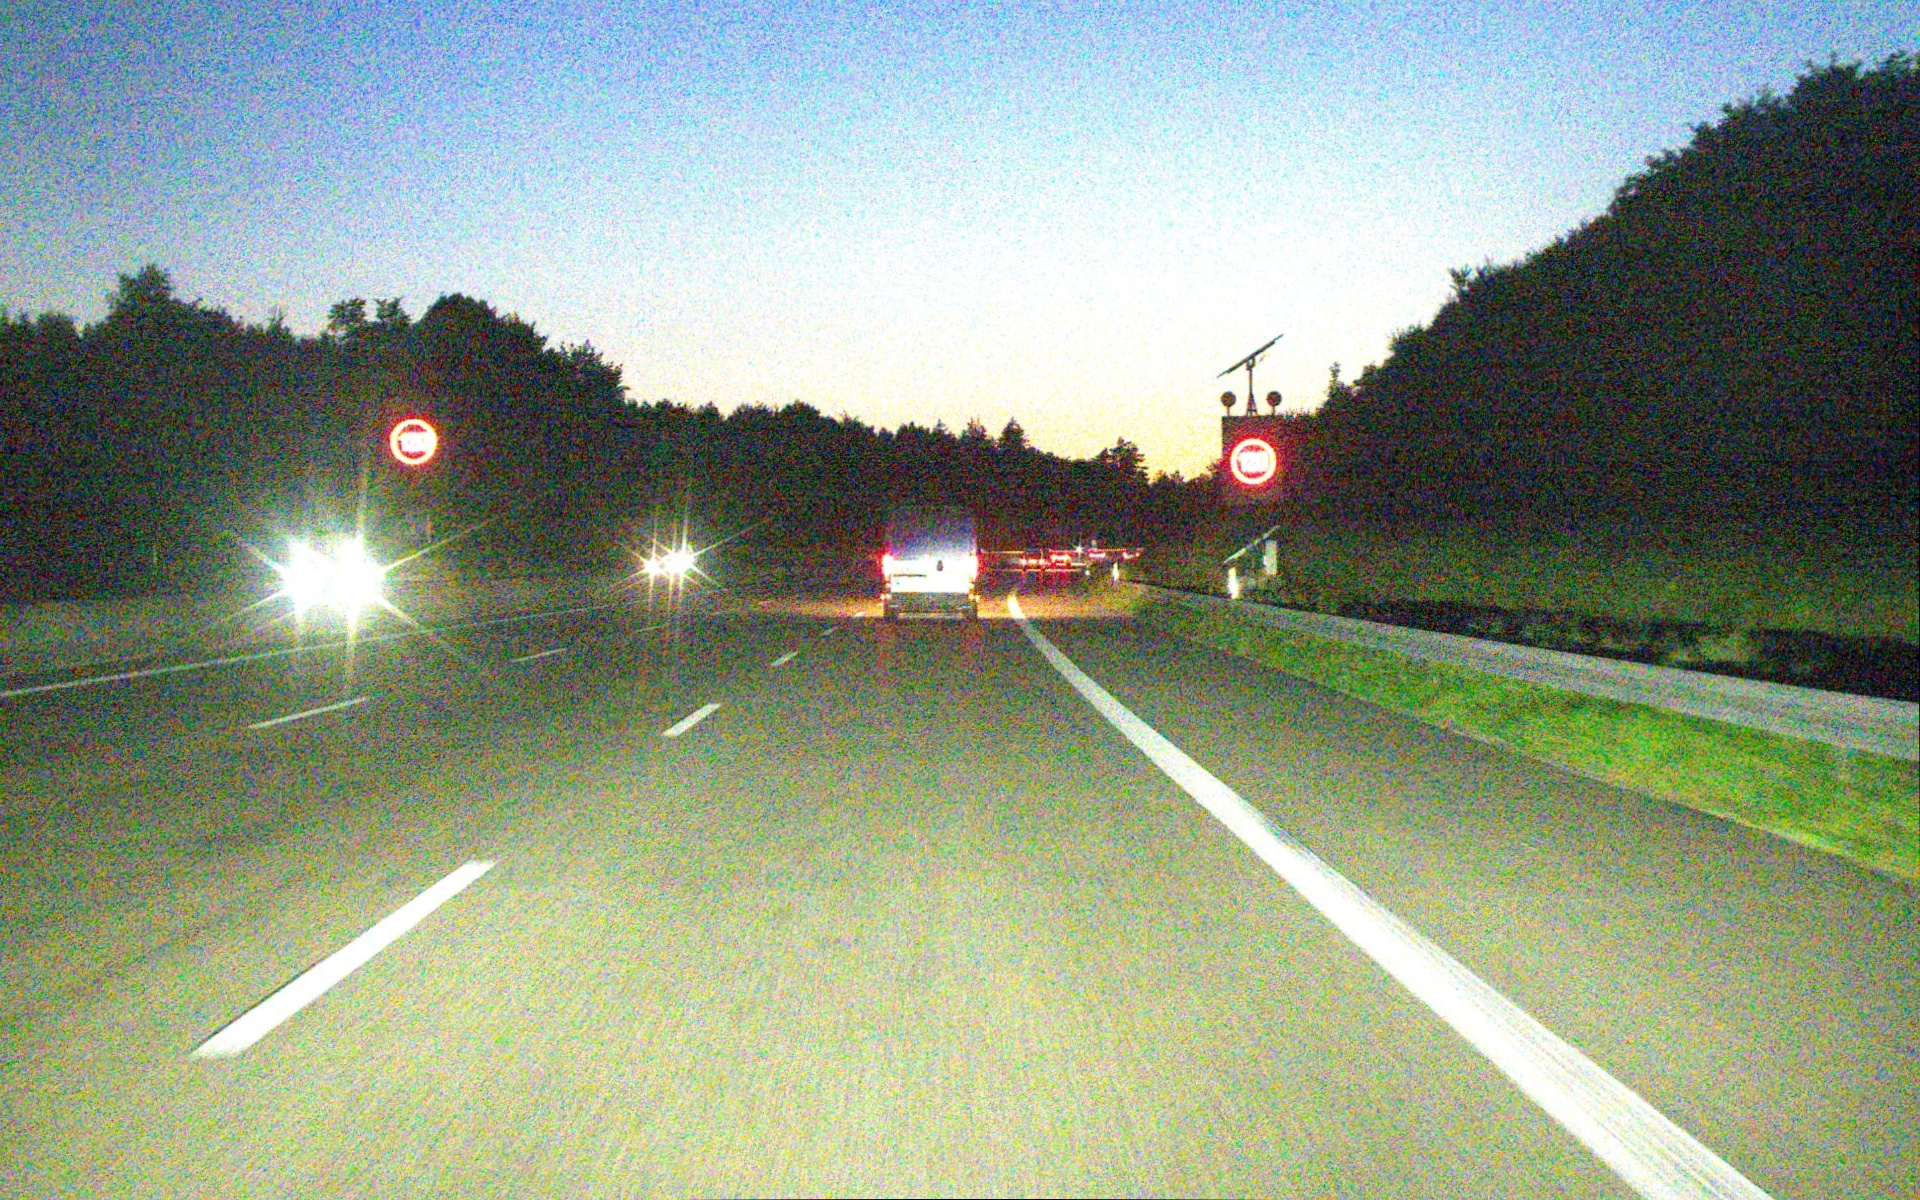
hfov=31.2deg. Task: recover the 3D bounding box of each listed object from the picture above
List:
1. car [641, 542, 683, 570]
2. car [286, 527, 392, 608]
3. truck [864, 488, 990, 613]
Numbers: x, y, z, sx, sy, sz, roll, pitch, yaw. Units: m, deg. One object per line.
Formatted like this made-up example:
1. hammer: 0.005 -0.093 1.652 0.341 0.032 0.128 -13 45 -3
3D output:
1. car: -16.901 -2.494 195.121 1.993 1.597 4.213 1 0 0
2. car: -15.879 -0.830 88.118 1.993 2.007 4.606 1 0 -2
3. truck: -0.724 -1.095 77.016 2.630 2.615 8.685 1 1 0
